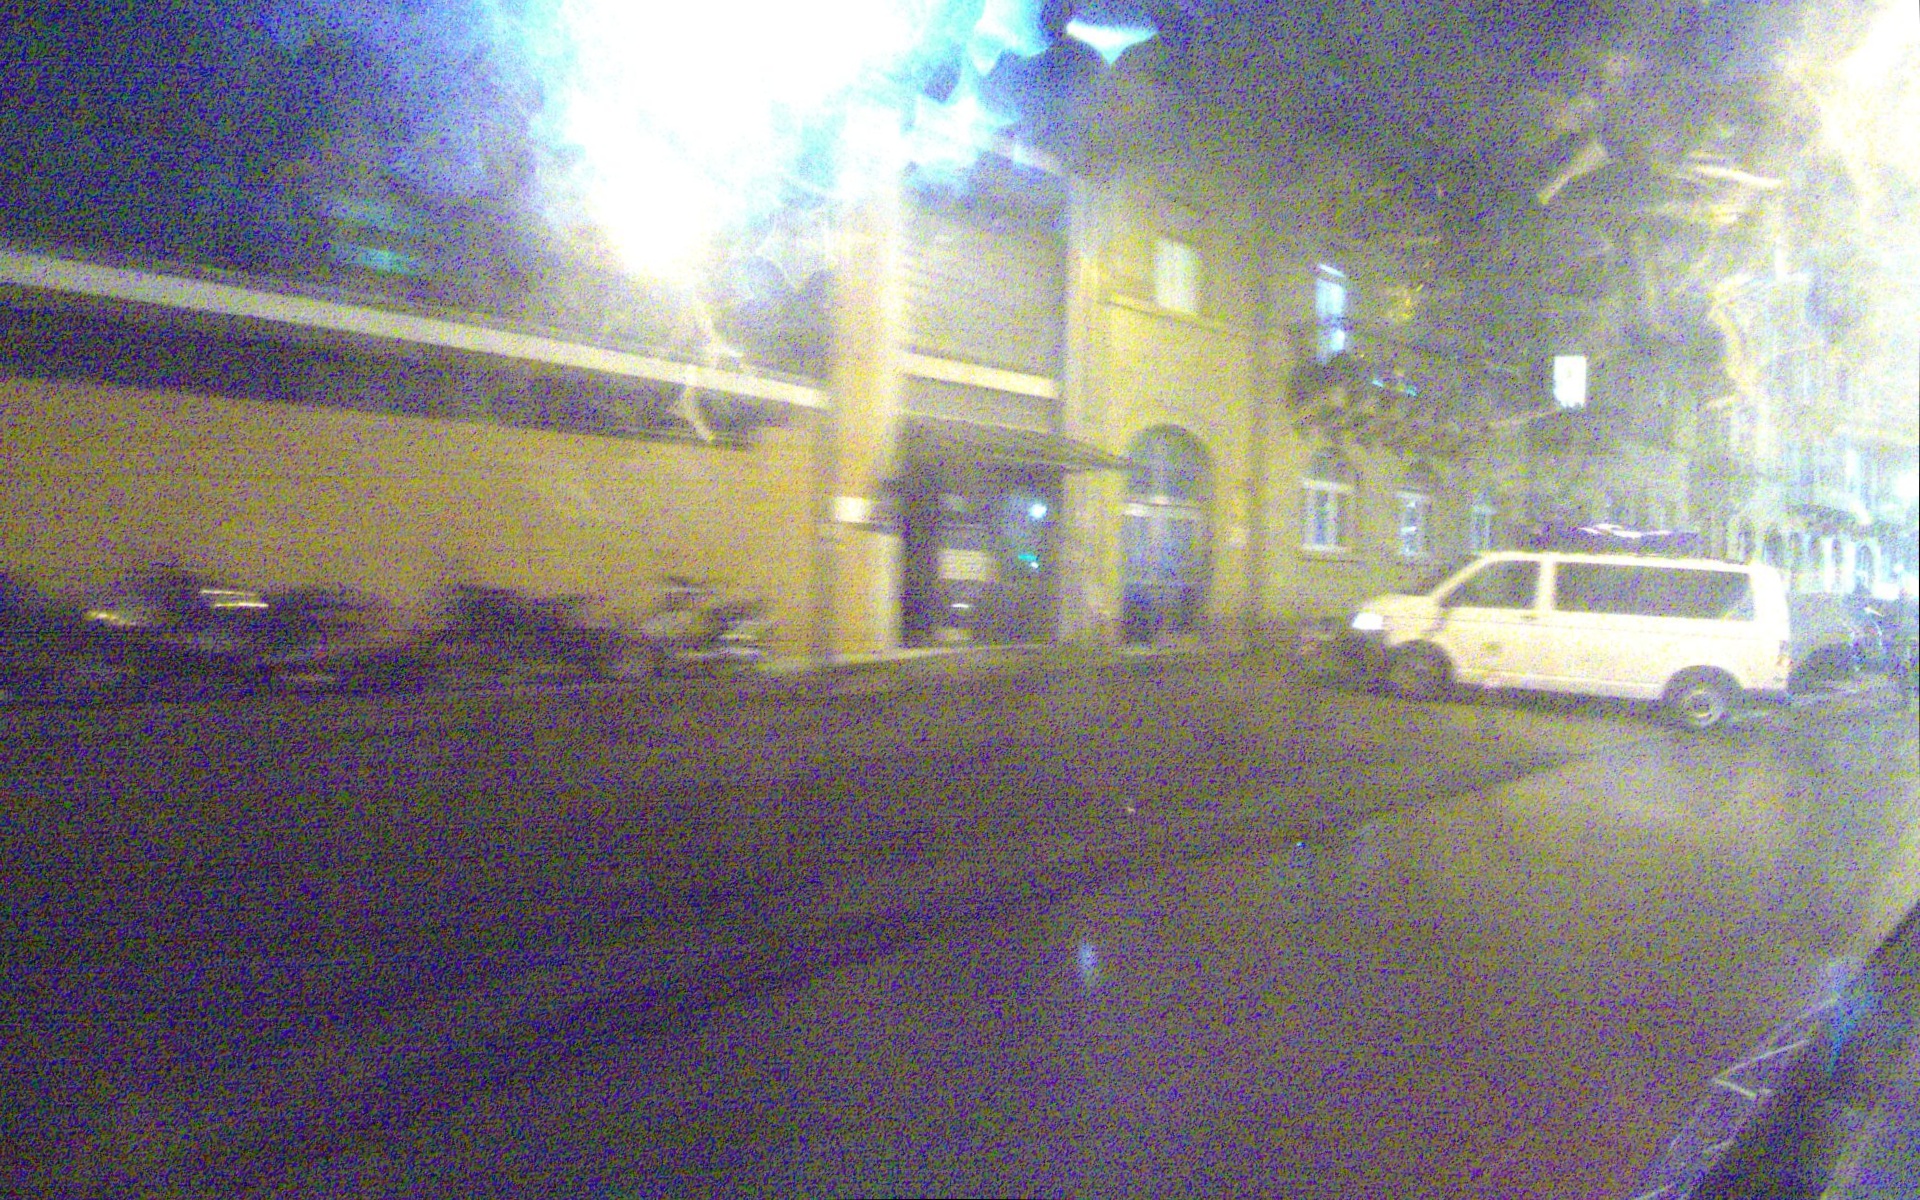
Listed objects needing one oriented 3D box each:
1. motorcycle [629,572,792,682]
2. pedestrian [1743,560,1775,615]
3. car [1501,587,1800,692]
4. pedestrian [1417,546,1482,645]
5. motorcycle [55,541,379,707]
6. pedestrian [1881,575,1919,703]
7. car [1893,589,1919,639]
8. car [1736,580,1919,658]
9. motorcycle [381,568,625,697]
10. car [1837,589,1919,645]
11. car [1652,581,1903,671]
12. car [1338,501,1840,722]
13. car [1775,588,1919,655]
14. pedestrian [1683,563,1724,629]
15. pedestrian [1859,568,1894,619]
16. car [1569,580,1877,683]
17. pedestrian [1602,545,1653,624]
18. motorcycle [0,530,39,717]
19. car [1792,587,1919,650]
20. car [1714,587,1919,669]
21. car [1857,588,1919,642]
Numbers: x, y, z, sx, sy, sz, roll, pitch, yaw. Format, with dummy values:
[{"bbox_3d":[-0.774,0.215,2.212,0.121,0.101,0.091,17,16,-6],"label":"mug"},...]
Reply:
[{"bbox_3d":[-2.600,0.263,10.664,1.596,1.081,0.524,0,0,-40],"label":"motorcycle"},{"bbox_3d":[25.235,-0.403,31.975,0.590,1.685,0.575,3,1,-38],"label":"pedestrian"},{"bbox_3d":[10.951,0.557,16.359,3.687,1.486,1.601,1,1,22],"label":"car"},{"bbox_3d":[9.522,-0.090,19.698,0.827,1.864,0.748,3,1,-38],"label":"pedestrian"},{"bbox_3d":[-6.019,0.179,8.329,2.087,1.223,0.524,0,0,-39],"label":"motorcycle"},{"bbox_3d":[13.963,0.549,14.578,1.156,1.792,0.824,0,1,-38],"label":"pedestrian"},{"bbox_3d":[32.424,0.494,32.211,3.548,1.580,1.705,2,1,14],"label":"car"},{"bbox_3d":[20.787,0.411,23.687,3.759,1.710,1.822,1,1,23],"label":"car"},{"bbox_3d":[-4.187,0.262,9.422,0.523,1.081,2.025,1,1,45],"label":"motorcycle"},{"bbox_3d":[28.273,0.554,29.243,4.056,1.510,1.587,3,2,15],"label":"car"},{"bbox_3d":[16.068,0.455,20.093,3.464,1.580,1.586,2,1,17],"label":"car"},{"bbox_3d":[7.421,0.026,12.694,4.878,2.370,2.218,2,1,19],"label":"car"},{"bbox_3d":[23.407,0.523,26.027,3.350,1.580,1.630,2,1,17],"label":"car"},{"bbox_3d":[21.245,-0.120,28.926,0.769,1.812,0.657,3,1,-38],"label":"pedestrian"},{"bbox_3d":[36.007,-0.258,39.767,0.868,1.930,0.806,3,1,-38],"label":"pedestrian"},{"bbox_3d":[13.341,0.479,18.021,4.008,1.580,1.737,2,2,24],"label":"car"},{"bbox_3d":[16.981,-0.399,25.748,0.827,1.928,0.748,3,1,-38],"label":"pedestrian"},{"bbox_3d":[-7.639,0.161,6.824,2.090,1.335,0.523,0,0,-44],"label":"motorcycle"},{"bbox_3d":[25.297,0.493,27.734,3.438,1.580,1.627,2,1,19],"label":"car"},{"bbox_3d":[18.712,0.567,21.972,3.349,1.580,1.587,2,1,16],"label":"car"},{"bbox_3d":[30.293,0.509,31.303,3.350,1.611,1.587,3,2,17],"label":"car"}]
